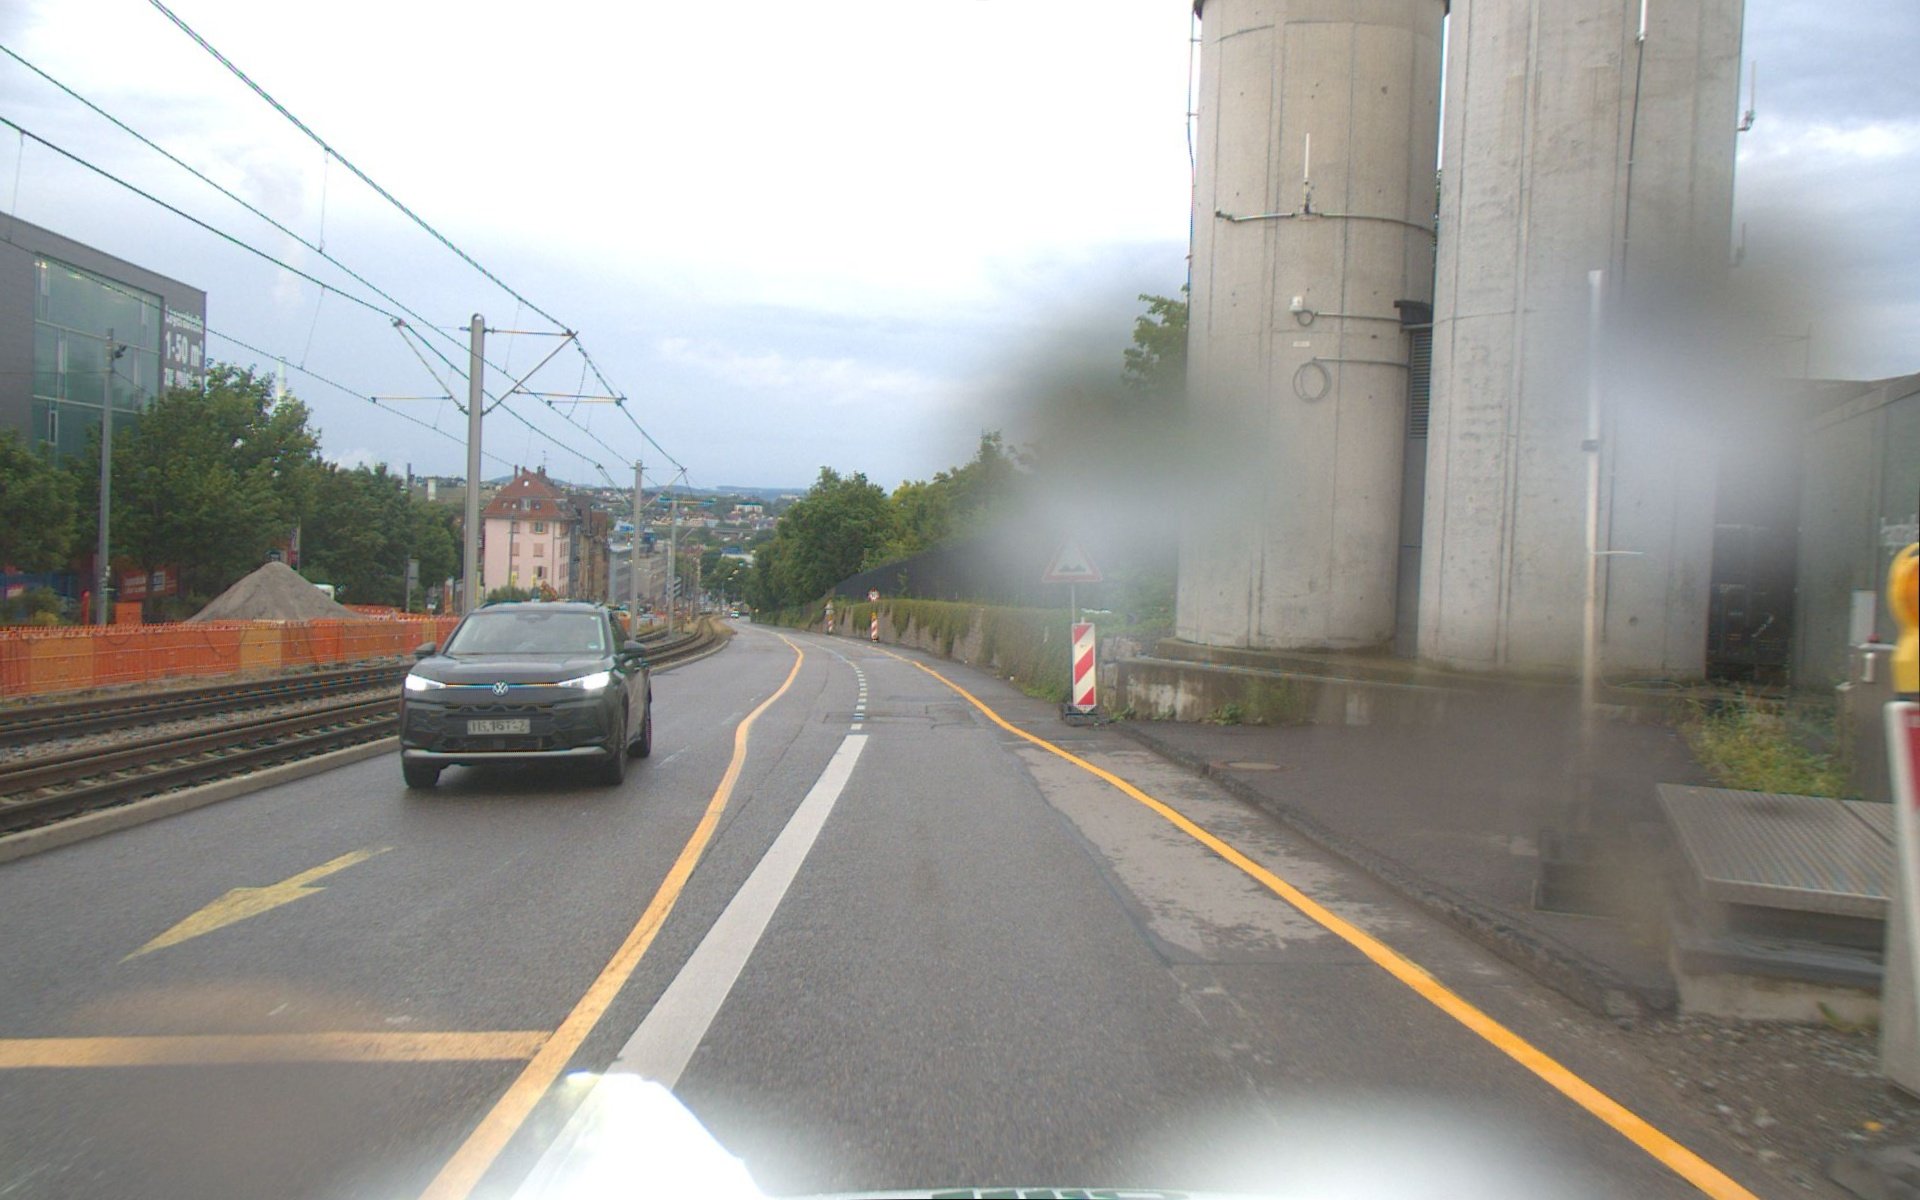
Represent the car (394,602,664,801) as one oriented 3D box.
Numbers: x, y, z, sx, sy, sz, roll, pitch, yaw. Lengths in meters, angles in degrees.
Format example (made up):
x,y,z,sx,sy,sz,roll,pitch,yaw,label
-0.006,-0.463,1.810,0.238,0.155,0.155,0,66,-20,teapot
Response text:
x,y,z,sx,sy,sz,roll,pitch,yaw,label
-3.709,0.790,14.867,1.754,1.489,3.946,-1,0,-6,car
